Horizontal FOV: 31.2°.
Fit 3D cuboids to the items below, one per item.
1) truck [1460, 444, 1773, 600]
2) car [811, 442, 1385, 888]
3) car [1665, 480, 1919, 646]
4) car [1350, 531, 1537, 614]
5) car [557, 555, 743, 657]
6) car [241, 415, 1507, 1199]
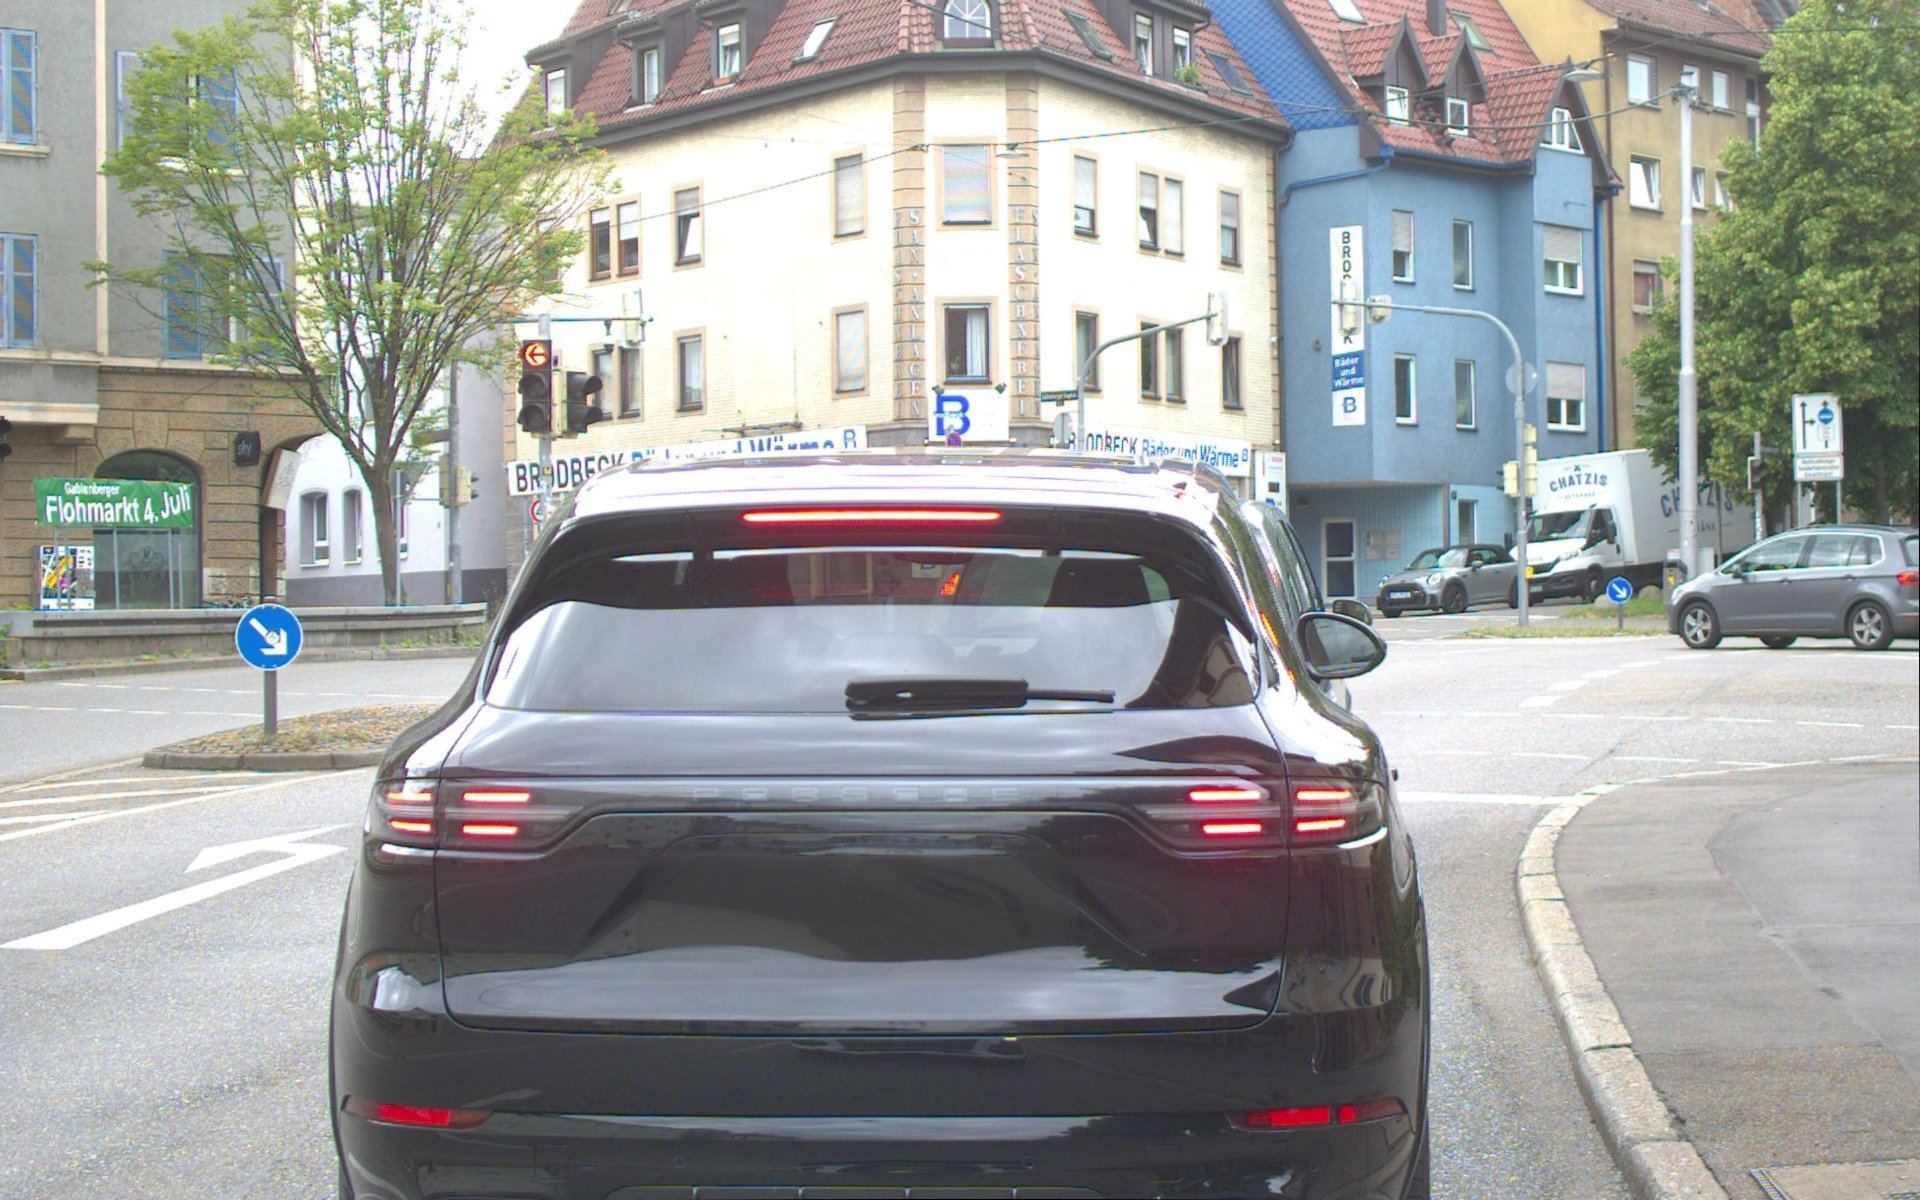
[{"bbox_3d":[15.104,-1.720,78.539,2.880,3.328,8.772,2,1,41],"label":"truck"},{"bbox_3d":[0.753,0.218,15.064,1.994,1.678,3.998,0,1,10],"label":"car"},{"bbox_3d":[11.218,-0.456,43.747,1.994,2.007,3.999,1,0,-39],"label":"car"},{"bbox_3d":[10.134,-0.581,71.894,1.998,1.678,3.990,1,1,41],"label":"car"},{"bbox_3d":[-5.073,0.099,56.780,1.890,1.574,3.967,-2,0,13],"label":"car"},{"bbox_3d":[-0.242,0.495,7.389,1.978,1.678,4.001,0,2,-3],"label":"car"}]
